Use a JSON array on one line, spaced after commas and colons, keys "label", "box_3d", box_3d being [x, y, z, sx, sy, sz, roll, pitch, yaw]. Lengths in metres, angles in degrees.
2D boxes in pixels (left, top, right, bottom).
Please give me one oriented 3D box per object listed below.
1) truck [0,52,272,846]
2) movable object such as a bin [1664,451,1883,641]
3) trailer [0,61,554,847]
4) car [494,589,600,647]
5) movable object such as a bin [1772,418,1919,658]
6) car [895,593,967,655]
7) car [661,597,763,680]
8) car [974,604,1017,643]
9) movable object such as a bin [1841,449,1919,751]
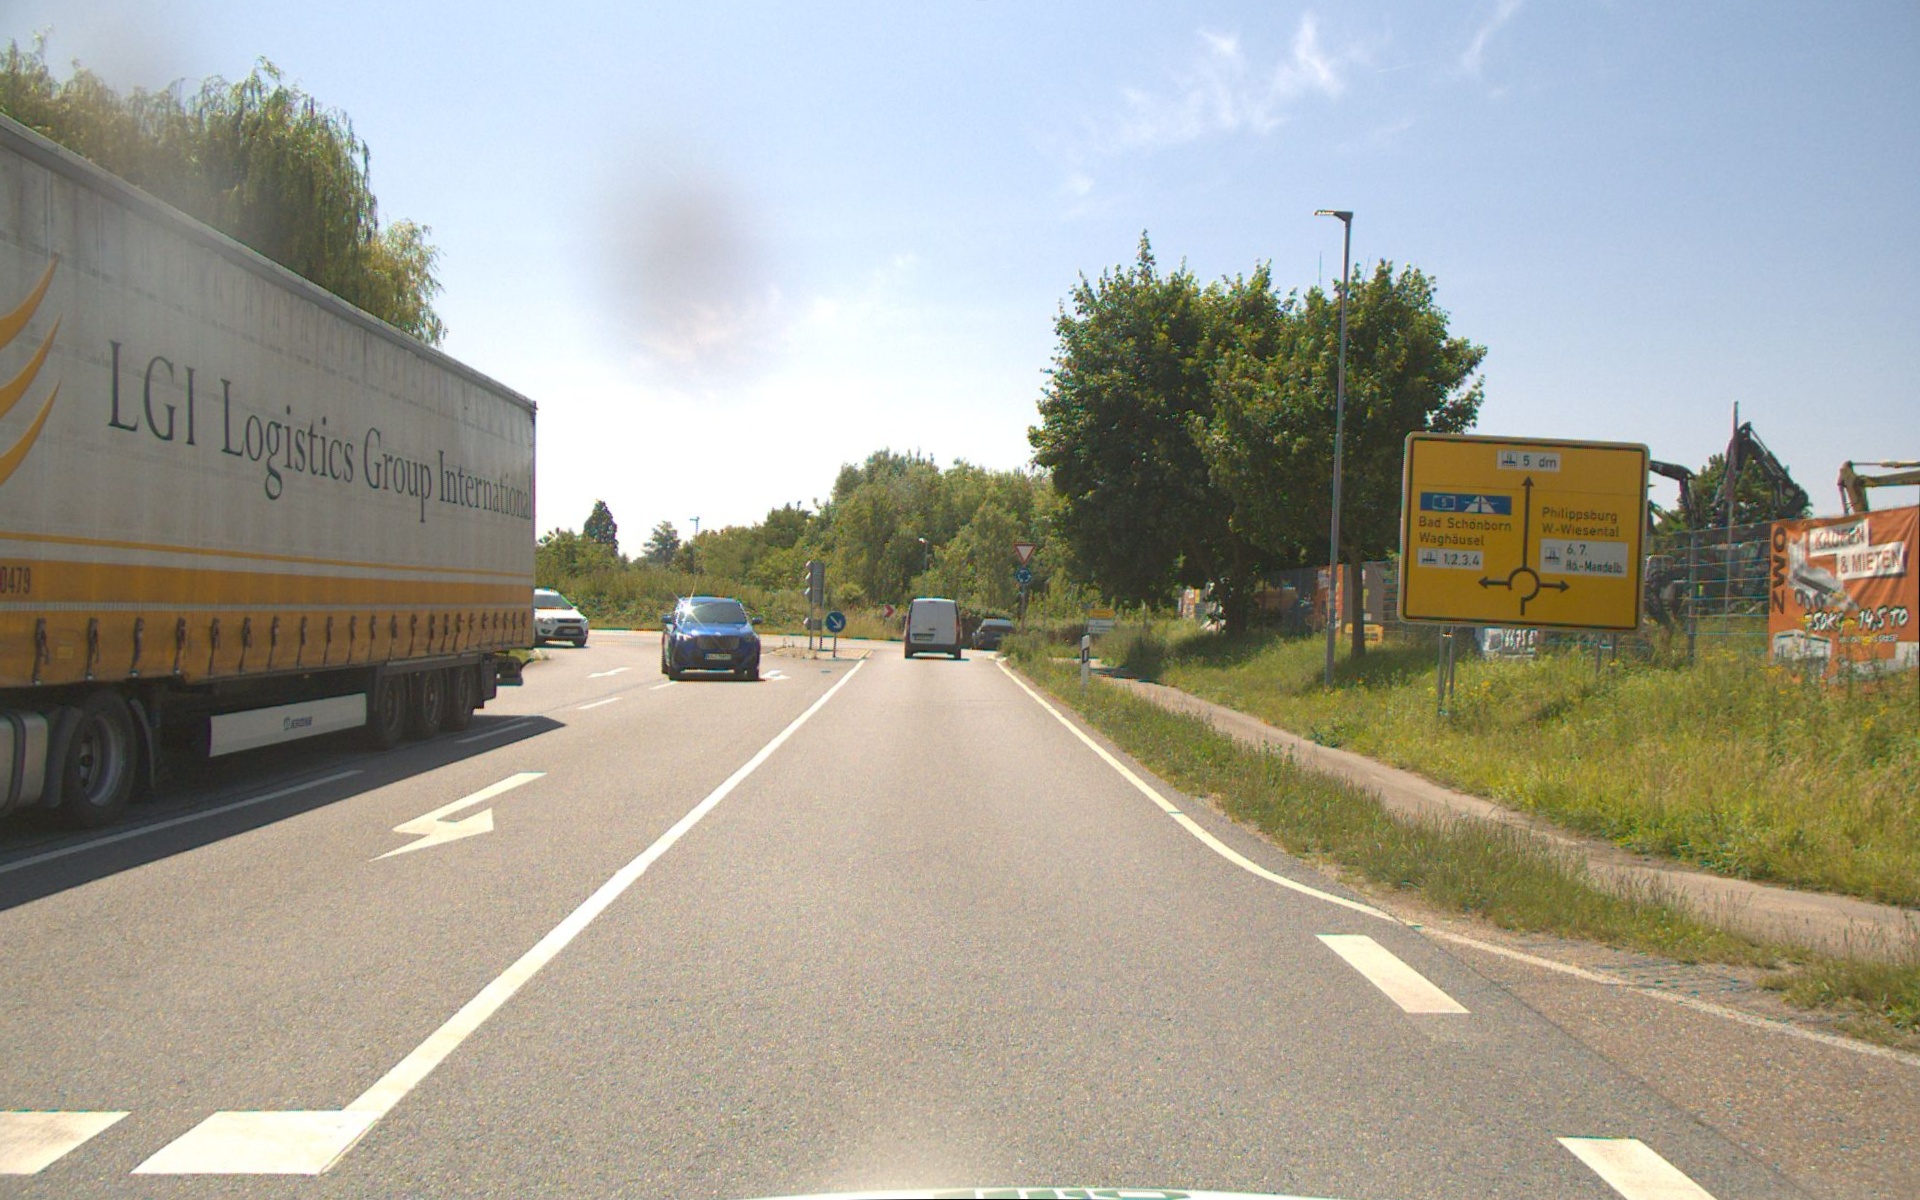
[{"label": "truck", "box_3d": [-6.394, -0.826, 8.676, 2.734, 4.127, 6.750, 4, 0, -2]}, {"label": "movable object such as a bin", "box_3d": [24.025, -1.538, 49.037, 4.980, 5.143, 2.778, 4, -2, 2]}, {"label": "trailer", "box_3d": [-6.640, -0.875, 15.265, 2.734, 4.127, 13.496, 4, 0, -2]}, {"label": "car", "box_3d": [-12.931, 0.538, 51.628, 1.886, 1.688, 3.950, 2, -1, -35]}, {"label": "movable object such as a bin", "box_3d": [23.309, -1.325, 40.004, 5.598, 5.361, 3.222, 4, -2, 2]}, {"label": "car", "box_3d": [-0.923, 0.718, 50.681, 1.866, 1.763, 3.818, 2, -1, -5]}, {"label": "car", "box_3d": [-5.162, 0.741, 34.113, 1.815, 1.595, 3.988, 1, 0, -12]}, {"label": "car", "box_3d": [1.615, 1.050, 75.698, 1.769, 1.583, 4.000, 2, 1, -1]}, {"label": "movable object such as a bin", "box_3d": [11.597, 0.021, 16.917, 2.276, 3.307, 5.100, 4, -2, -1]}]
